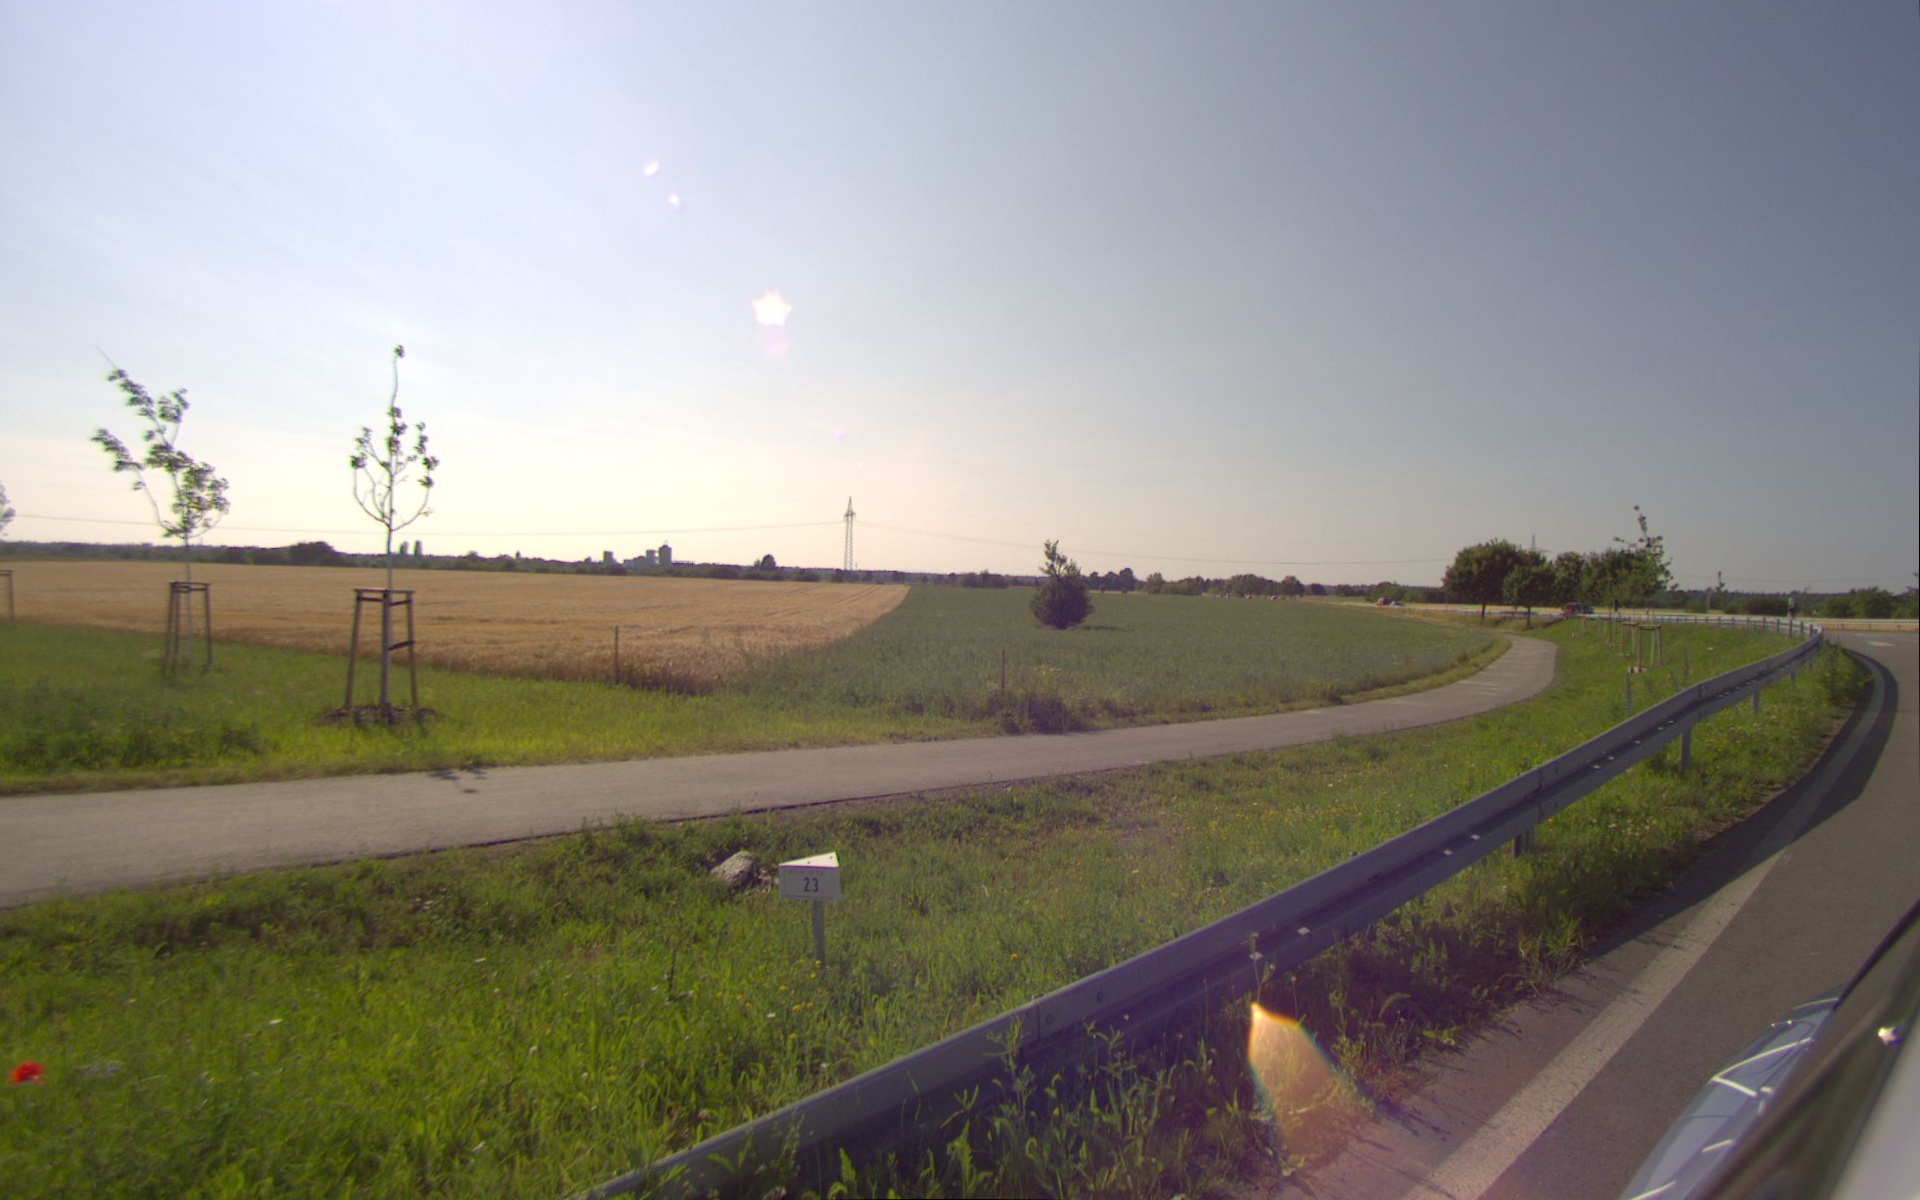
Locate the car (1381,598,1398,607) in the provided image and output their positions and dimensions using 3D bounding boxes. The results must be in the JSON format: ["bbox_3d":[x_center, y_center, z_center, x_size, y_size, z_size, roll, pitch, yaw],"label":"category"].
[{"bbox_3d":[80.461,0.504,189.725,1.783,1.694,3.994,0,0,5],"label":"car"}]
